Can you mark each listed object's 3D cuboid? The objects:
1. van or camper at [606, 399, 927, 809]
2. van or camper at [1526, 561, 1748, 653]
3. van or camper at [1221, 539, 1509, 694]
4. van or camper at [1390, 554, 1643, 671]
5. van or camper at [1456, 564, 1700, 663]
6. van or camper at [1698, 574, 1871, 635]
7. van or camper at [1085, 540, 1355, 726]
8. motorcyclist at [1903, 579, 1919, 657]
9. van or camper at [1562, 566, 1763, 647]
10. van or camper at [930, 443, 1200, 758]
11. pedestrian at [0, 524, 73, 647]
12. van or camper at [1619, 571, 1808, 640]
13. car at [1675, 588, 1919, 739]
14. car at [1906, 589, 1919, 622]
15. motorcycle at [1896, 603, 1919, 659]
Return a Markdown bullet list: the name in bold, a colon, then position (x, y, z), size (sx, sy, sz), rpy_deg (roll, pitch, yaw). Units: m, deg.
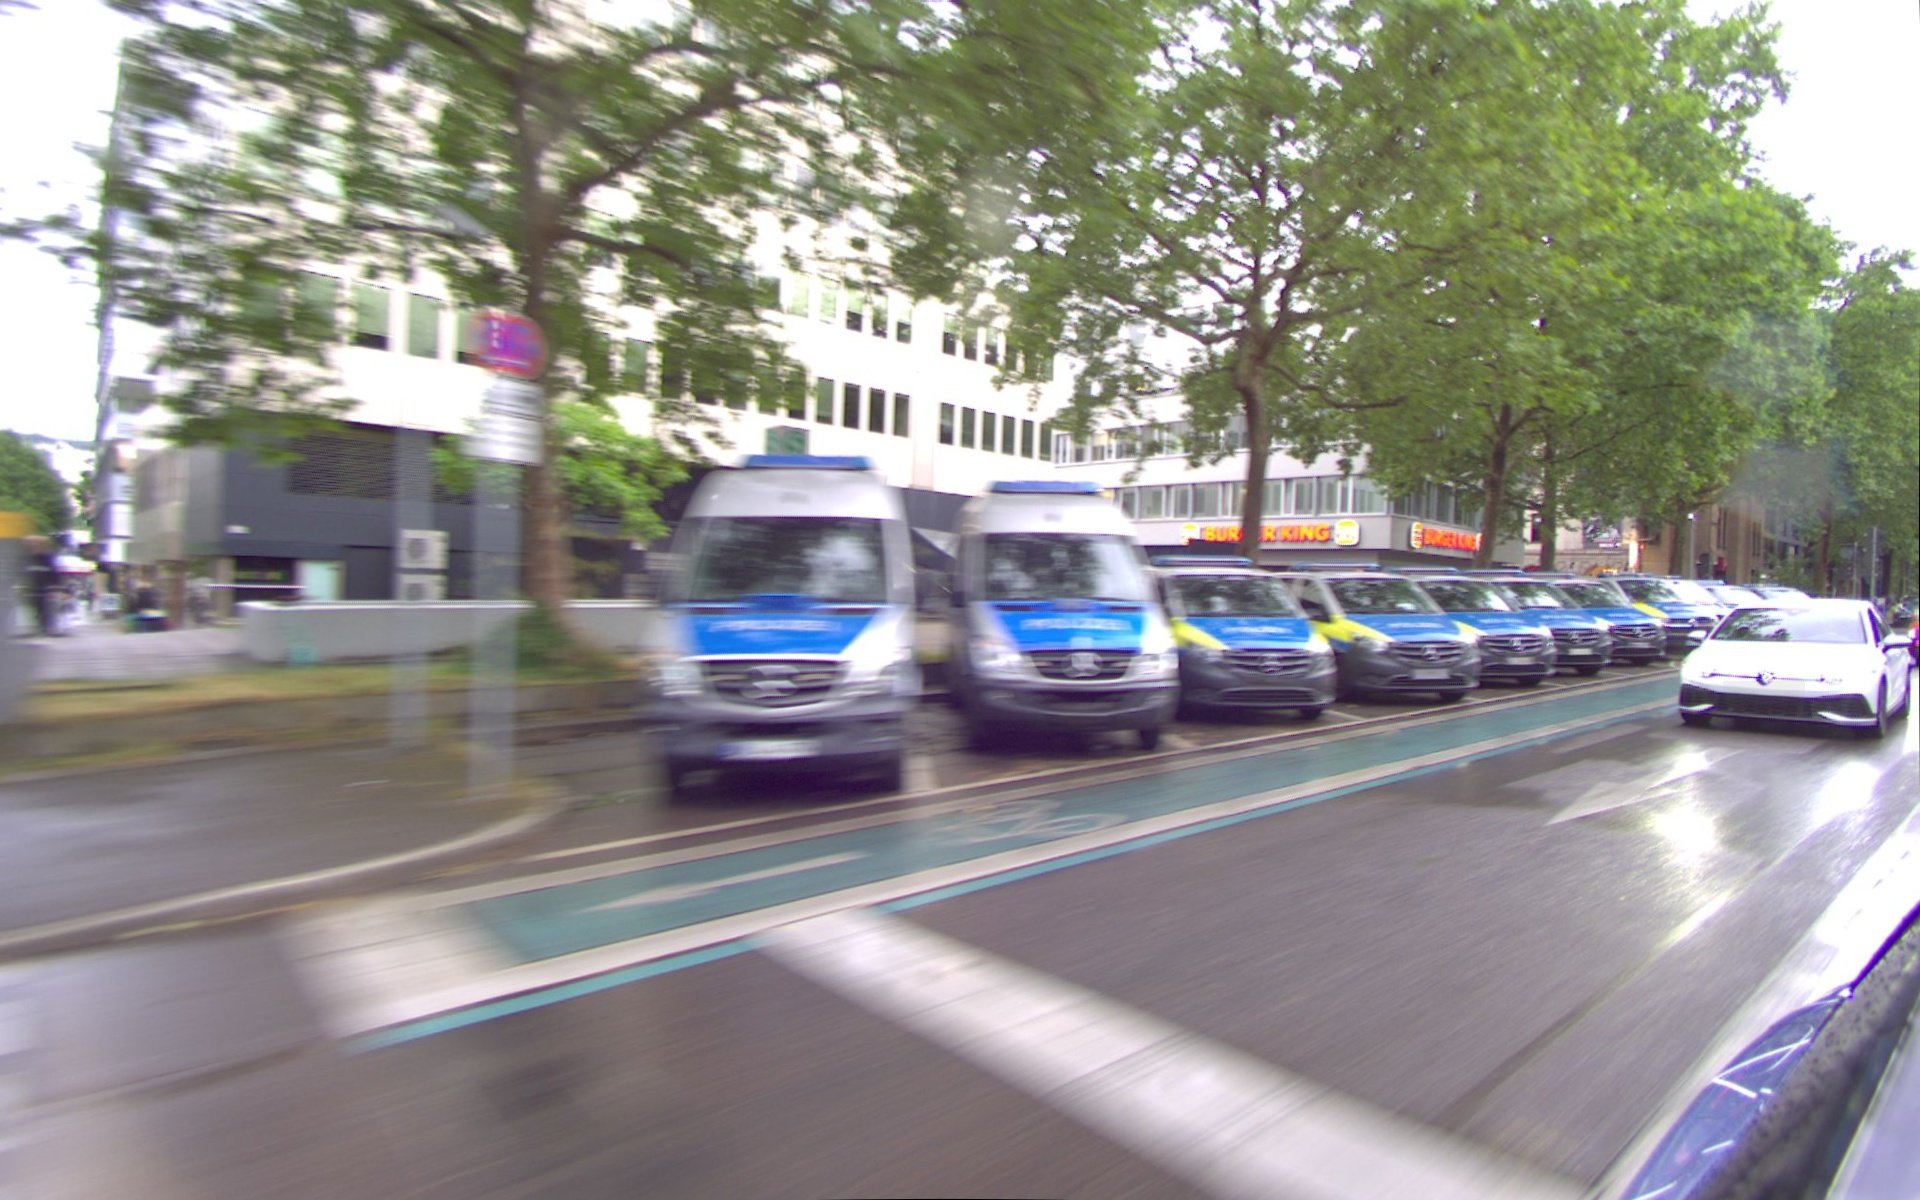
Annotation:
- **van or camper**: position (-1.452, -0.021, 9.641), size (2.105, 2.711, 5.821), rpy_deg (0, 1, -3)
- **van or camper**: position (16.381, 0.118, 24.873), size (1.960, 2.036, 4.800), rpy_deg (0, 1, -5)
- **van or camper**: position (6.010, 0.187, 15.908), size (1.960, 2.017, 5.215), rpy_deg (-1, 1, -6)
- **van or camper**: position (10.973, 0.179, 20.517), size (2.065, 2.050, 5.112), rpy_deg (1, 1, -3)
- **van or camper**: position (13.838, 0.218, 23.131), size (1.959, 2.020, 5.033), rpy_deg (0, 1, -8)
- **van or camper**: position (29.149, 0.114, 36.032), size (1.963, 2.017, 4.950), rpy_deg (0, 0, -3)
- **van or camper**: position (3.196, 0.286, 13.695), size (1.960, 2.038, 5.023), rpy_deg (-1, 2, -5)
- **motorcyclist**: position (21.014, 0.388, 21.804), size (0.842, 1.665, 0.862), rpy_deg (1, 0, 31)
- **van or camper**: position (18.857, 0.120, 27.502), size (1.831, 2.023, 4.859), rpy_deg (0, 1, -4)
- **van or camper**: position (0.830, -0.053, 11.673), size (1.960, 2.713, 5.819), rpy_deg (1, 1, -5)
- **pedestrian**: position (-15.710, -0.252, 17.196), size (0.754, 2.038, 0.705), rpy_deg (0, 2, -22)
- **van or camper**: position (23.884, 0.160, 32.394), size (1.957, 2.044, 5.092), rpy_deg (0, 0, -4)
- **car**: position (10.245, 0.609, 12.152), size (4.433, 1.463, 1.864), rpy_deg (0, 1, -43)
- **car**: position (49.108, 0.280, 50.975), size (4.348, 1.623, 1.795), rpy_deg (0, 0, -42)
- **motorcycle**: position (20.976, 0.662, 21.751), size (0.862, 1.157, 1.999), rpy_deg (1, 1, 31)
